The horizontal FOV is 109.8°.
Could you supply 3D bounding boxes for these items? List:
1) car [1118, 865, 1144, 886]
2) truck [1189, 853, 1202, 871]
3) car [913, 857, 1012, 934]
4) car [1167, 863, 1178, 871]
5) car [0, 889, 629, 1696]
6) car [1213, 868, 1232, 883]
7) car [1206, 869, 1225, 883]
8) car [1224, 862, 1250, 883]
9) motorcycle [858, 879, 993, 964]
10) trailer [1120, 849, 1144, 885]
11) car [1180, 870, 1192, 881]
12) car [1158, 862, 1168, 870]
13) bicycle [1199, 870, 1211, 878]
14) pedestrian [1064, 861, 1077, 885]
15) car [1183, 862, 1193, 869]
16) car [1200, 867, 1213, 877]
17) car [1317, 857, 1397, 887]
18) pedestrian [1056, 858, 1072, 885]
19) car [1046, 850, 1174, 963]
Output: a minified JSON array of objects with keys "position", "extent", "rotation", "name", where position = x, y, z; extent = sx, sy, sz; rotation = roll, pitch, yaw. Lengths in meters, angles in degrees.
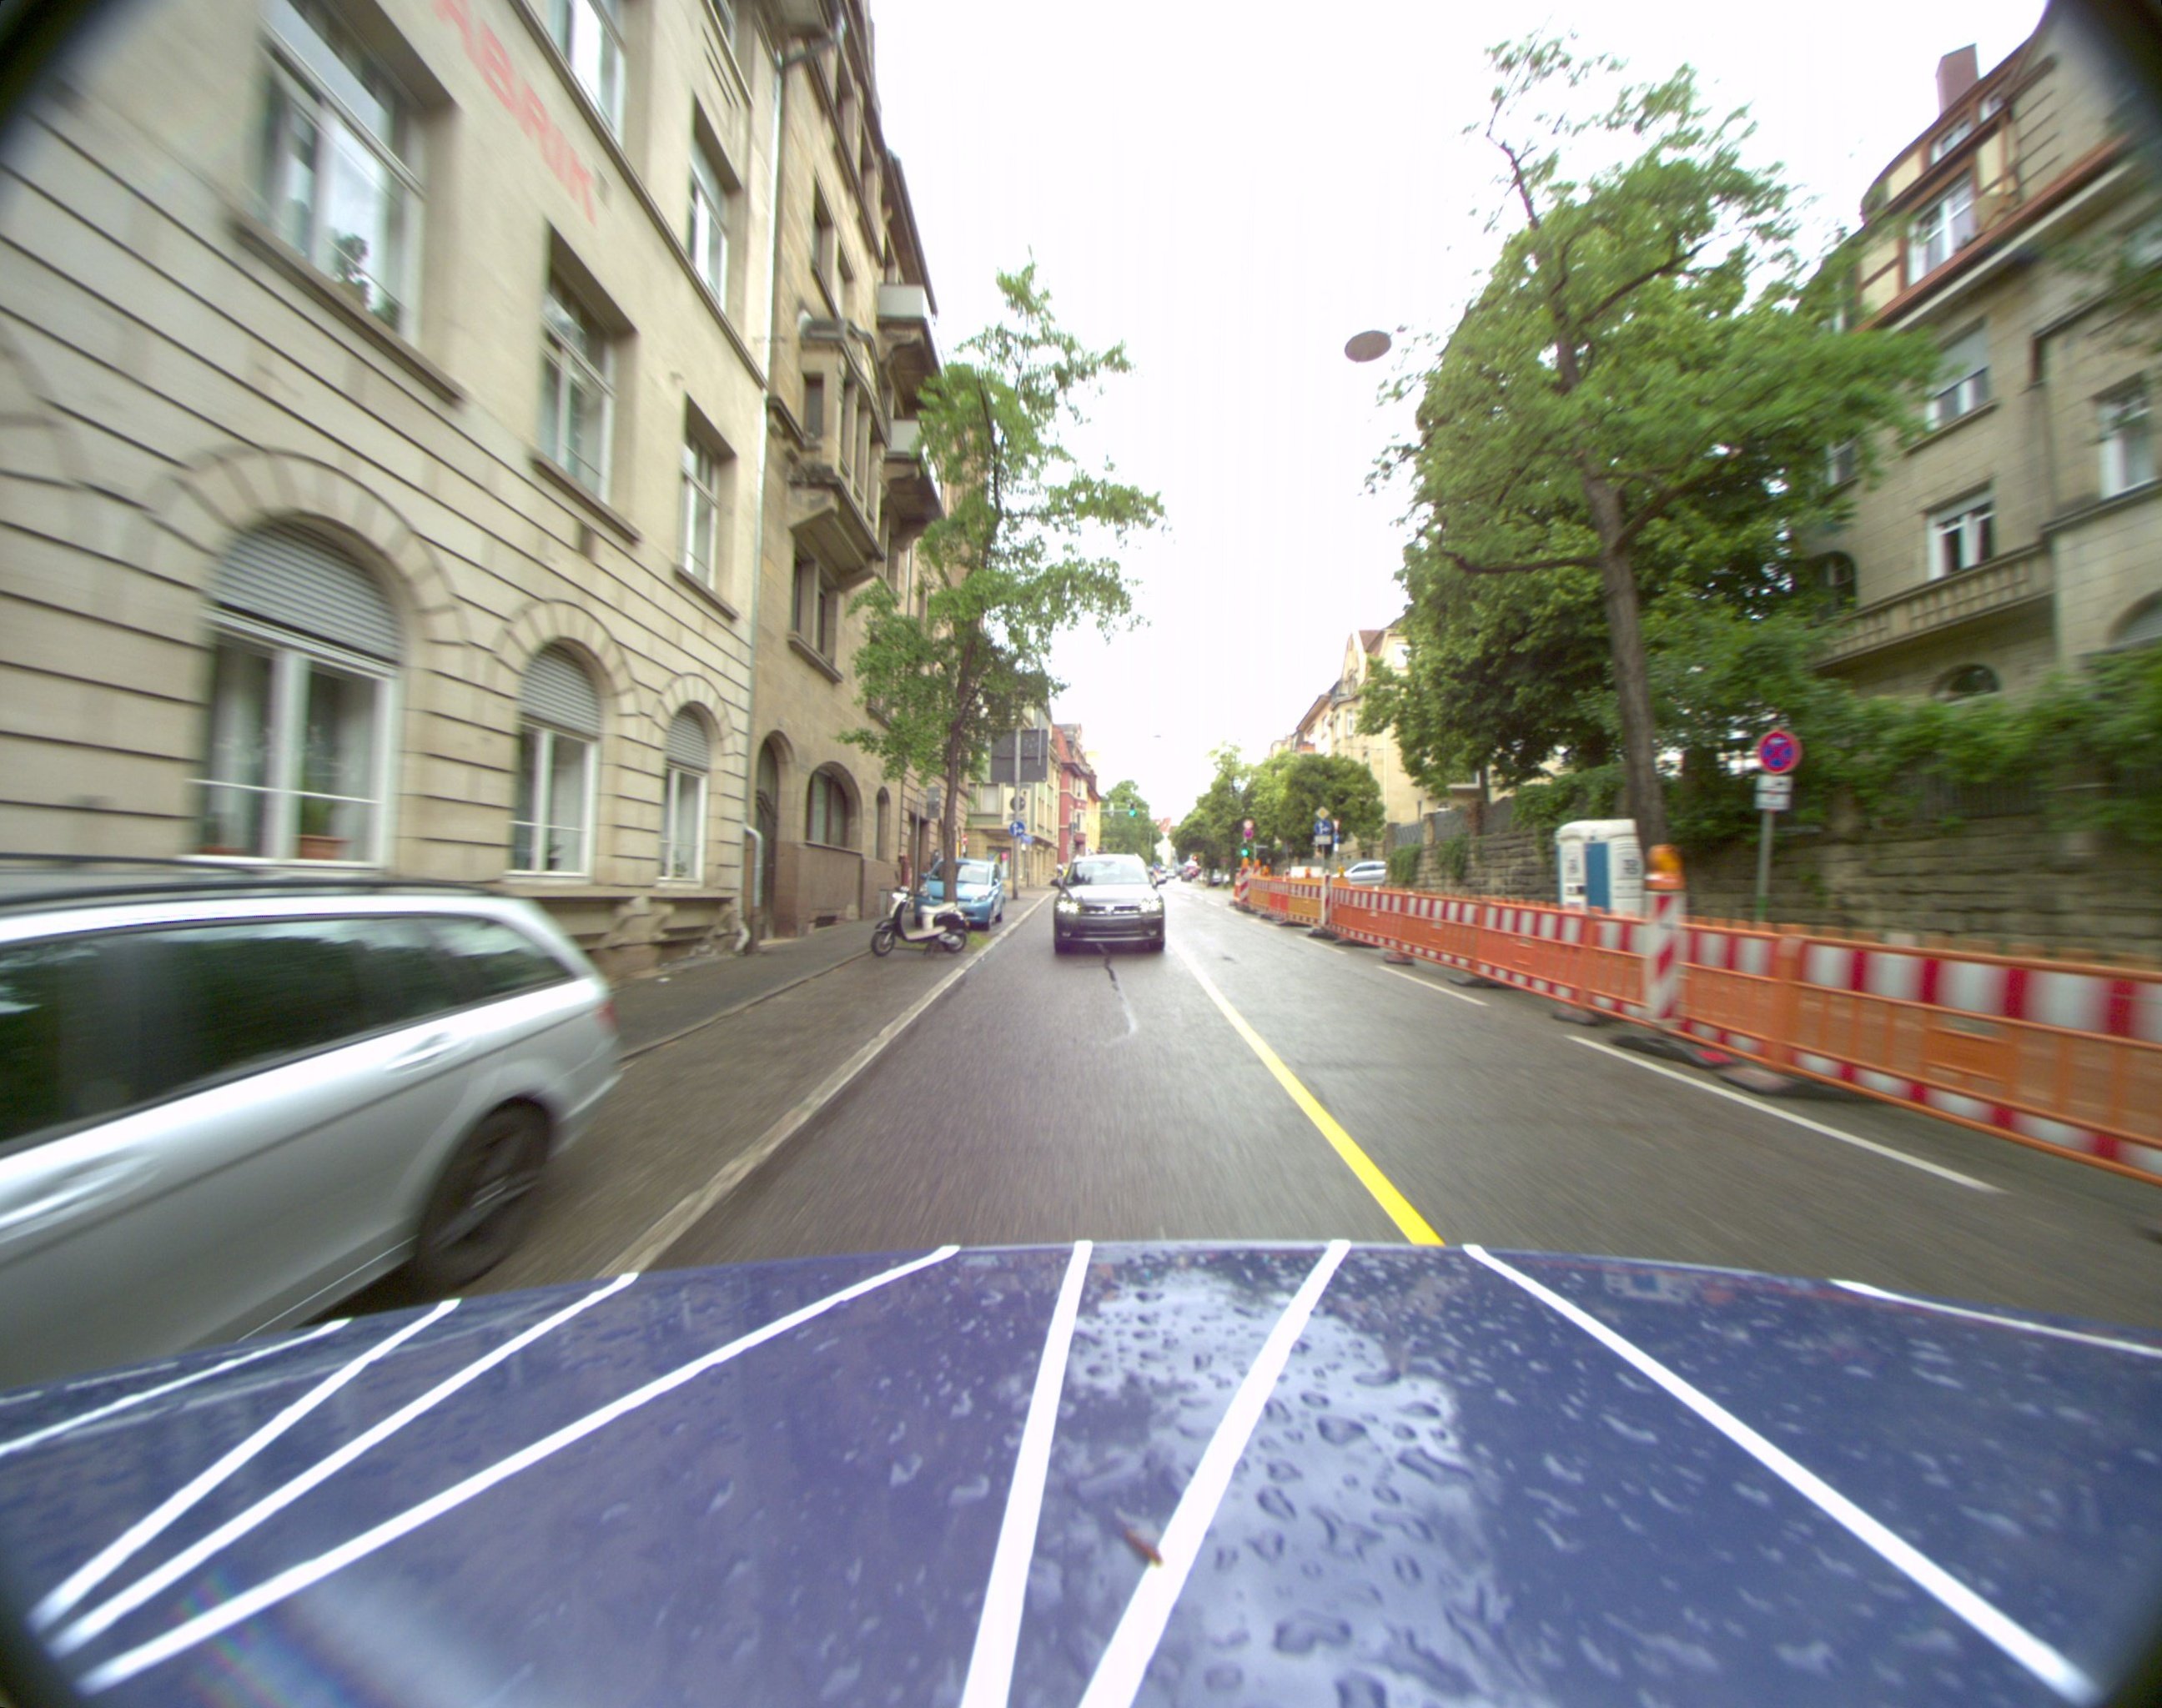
[{"position":[4.157,1.765,62.842],"extent":[1.924,1.641,4.137],"rotation":[-2,-1,6],"name":"car"},{"position":[25.937,1.836,172.346],"extent":[2.652,3.831,9.314],"rotation":[2,-1,8],"name":"truck"},{"position":[-2.658,0.872,17.773],"extent":[1.661,1.534,3.665],"rotation":[2,0,0],"name":"car"},{"position":[16.851,2.383,139.571],"extent":[1.775,1.508,4.103],"rotation":[1,0,10],"name":"car"},{"position":[-2.942,0.904,1.270],"extent":[1.699,1.423,4.422],"rotation":[3,0,0],"name":"car"},{"position":[15.144,2.285,81.431],"extent":[1.745,1.550,4.305],"rotation":[-2,-1,7],"name":"car"},{"position":[15.877,2.568,89.693],"extent":[1.745,1.550,4.304],"rotation":[-3,-1,4],"name":"car"},{"position":[12.347,1.408,60.313],"extent":[1.745,1.550,4.305],"rotation":[-2,-1,7],"name":"car"},{"position":[-2.428,1.035,11.966],"extent":[1.943,1.228,0.656],"rotation":[3,-1,-35],"name":"motorcycle"},{"position":[4.443,1.088,66.053],"extent":[1.966,3.023,2.366],"rotation":[-2,0,6],"name":"trailer"},{"position":[17.648,3.629,127.985],"extent":[1.819,1.507,4.554],"rotation":[2,-4,7],"name":"car"},{"position":[18.800,2.704,173.647],"extent":[1.923,1.552,4.016],"rotation":[4,0,11],"name":"car"},{"position":[20.653,3.325,126.828],"extent":[1.979,1.228,0.658],"rotation":[1,0,7],"name":"bicycle"},{"position":[-0.689,1.287,50.819],"extent":[0.599,1.575,0.664],"rotation":[3,-1,-25],"name":"pedestrian"},{"position":[22.904,2.445,162.777],"extent":[1.714,1.471,4.118],"rotation":[2,0,13],"name":"car"},{"position":[20.389,2.924,123.934],"extent":[1.745,1.550,4.304],"rotation":[-2,-1,5],"name":"car"},{"position":[15.146,0.974,41.921],"extent":[3.868,1.401,1.827],"rotation":[-3,1,12],"name":"car"},{"position":[-1.128,1.155,50.102],"extent":[0.722,1.763,0.664],"rotation":[3,-1,-33],"name":"pedestrian"},{"position":[0.512,0.809,13.669],"extent":[1.859,1.641,5.196],"rotation":[0,-1,2],"name":"car"}]
